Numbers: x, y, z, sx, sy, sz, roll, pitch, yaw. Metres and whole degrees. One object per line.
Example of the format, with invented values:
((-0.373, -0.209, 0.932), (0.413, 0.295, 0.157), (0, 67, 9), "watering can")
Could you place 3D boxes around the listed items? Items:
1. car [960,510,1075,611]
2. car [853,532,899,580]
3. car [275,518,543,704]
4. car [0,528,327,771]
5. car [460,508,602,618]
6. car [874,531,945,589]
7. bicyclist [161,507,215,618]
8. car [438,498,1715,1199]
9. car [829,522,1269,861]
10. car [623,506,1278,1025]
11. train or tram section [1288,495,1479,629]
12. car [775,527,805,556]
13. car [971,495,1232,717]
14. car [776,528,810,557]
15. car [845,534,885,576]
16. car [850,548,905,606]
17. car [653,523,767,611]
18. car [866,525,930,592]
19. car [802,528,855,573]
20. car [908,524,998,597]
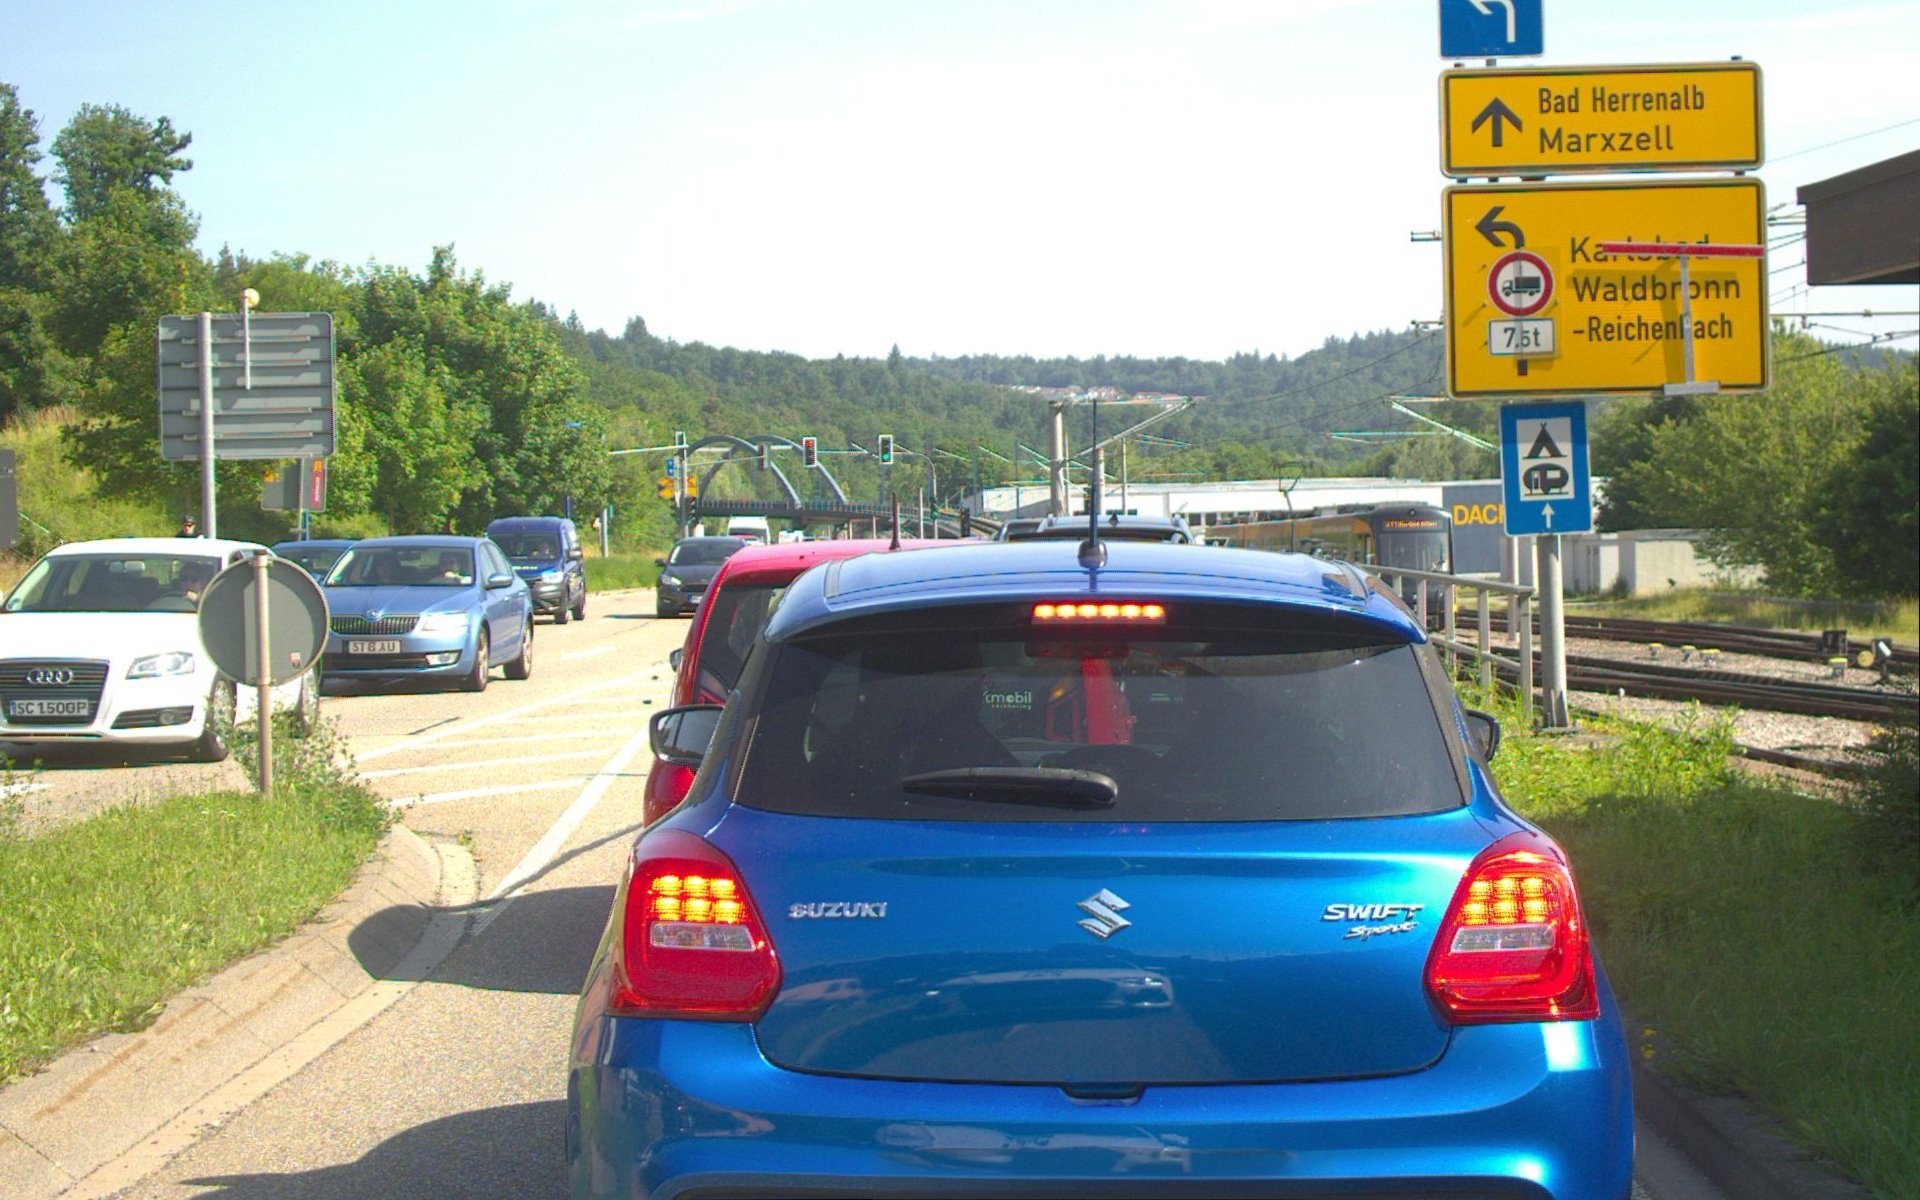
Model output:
((1.062, -0.751, 63.269), (1.993, 1.730, 4.000), (2, 1, 1), "car")
((-3.839, -2.020, 156.955), (1.993, 2.006, 4.001), (2, 2, -1), "car")
((-5.156, 0.056, 32.606), (1.832, 1.463, 3.811), (2, 3, 1), "car")
((-5.504, 0.259, 22.761), (1.832, 1.364, 3.950), (1, 2, 1), "car")
((-7.248, -0.666, 58.384), (1.832, 1.707, 3.811), (2, 2, 1), "car")
((-1.429, -1.149, 98.127), (1.832, 1.488, 3.811), (2, 2, 1), "car")
((-10.739, -0.526, 47.804), (0.629, 1.502, 0.506), (2, 2, -3), "bicyclist")
((0.125, 0.584, 7.046), (1.868, 1.543, 4.000), (0, 1, -1), "car")
((0.443, 0.365, 17.983), (1.993, 1.526, 4.602), (-1, 1, 1), "car")
((0.001, 0.478, 12.620), (1.993, 1.566, 4.000), (1, 1, 1), "car")
((11.352, -1.095, 93.717), (2.855, 3.353, 14.356), (1, 1, -2), "train or tram section")
((-12.619, -4.352, 255.931), (1.993, 2.137, 4.720), (1, 1, -1), "car")
((1.148, -0.005, 29.193), (1.993, 1.681, 4.497), (2, 1, 1), "car")
((-11.288, -3.890, 232.422), (1.993, 1.810, 4.001), (1, 2, -7), "car")
((-4.965, -2.359, 179.958), (1.993, 2.006, 4.001), (2, 2, -1), "car")
((-3.113, -0.883, 130.122), (1.993, 2.006, 4.001), (2, 2, -1), "car")
((-4.492, -0.627, 62.307), (1.832, 1.426, 3.811), (2, 2, -1), "car")
((-2.001, -1.366, 111.912), (1.993, 2.006, 4.001), (2, 2, -1), "car")
((-5.339, -2.016, 140.106), (1.993, 1.777, 4.000), (1, 1, -1), "car")
((-0.127, -0.880, 75.182), (1.832, 1.426, 3.811), (2, 2, 1), "car")
